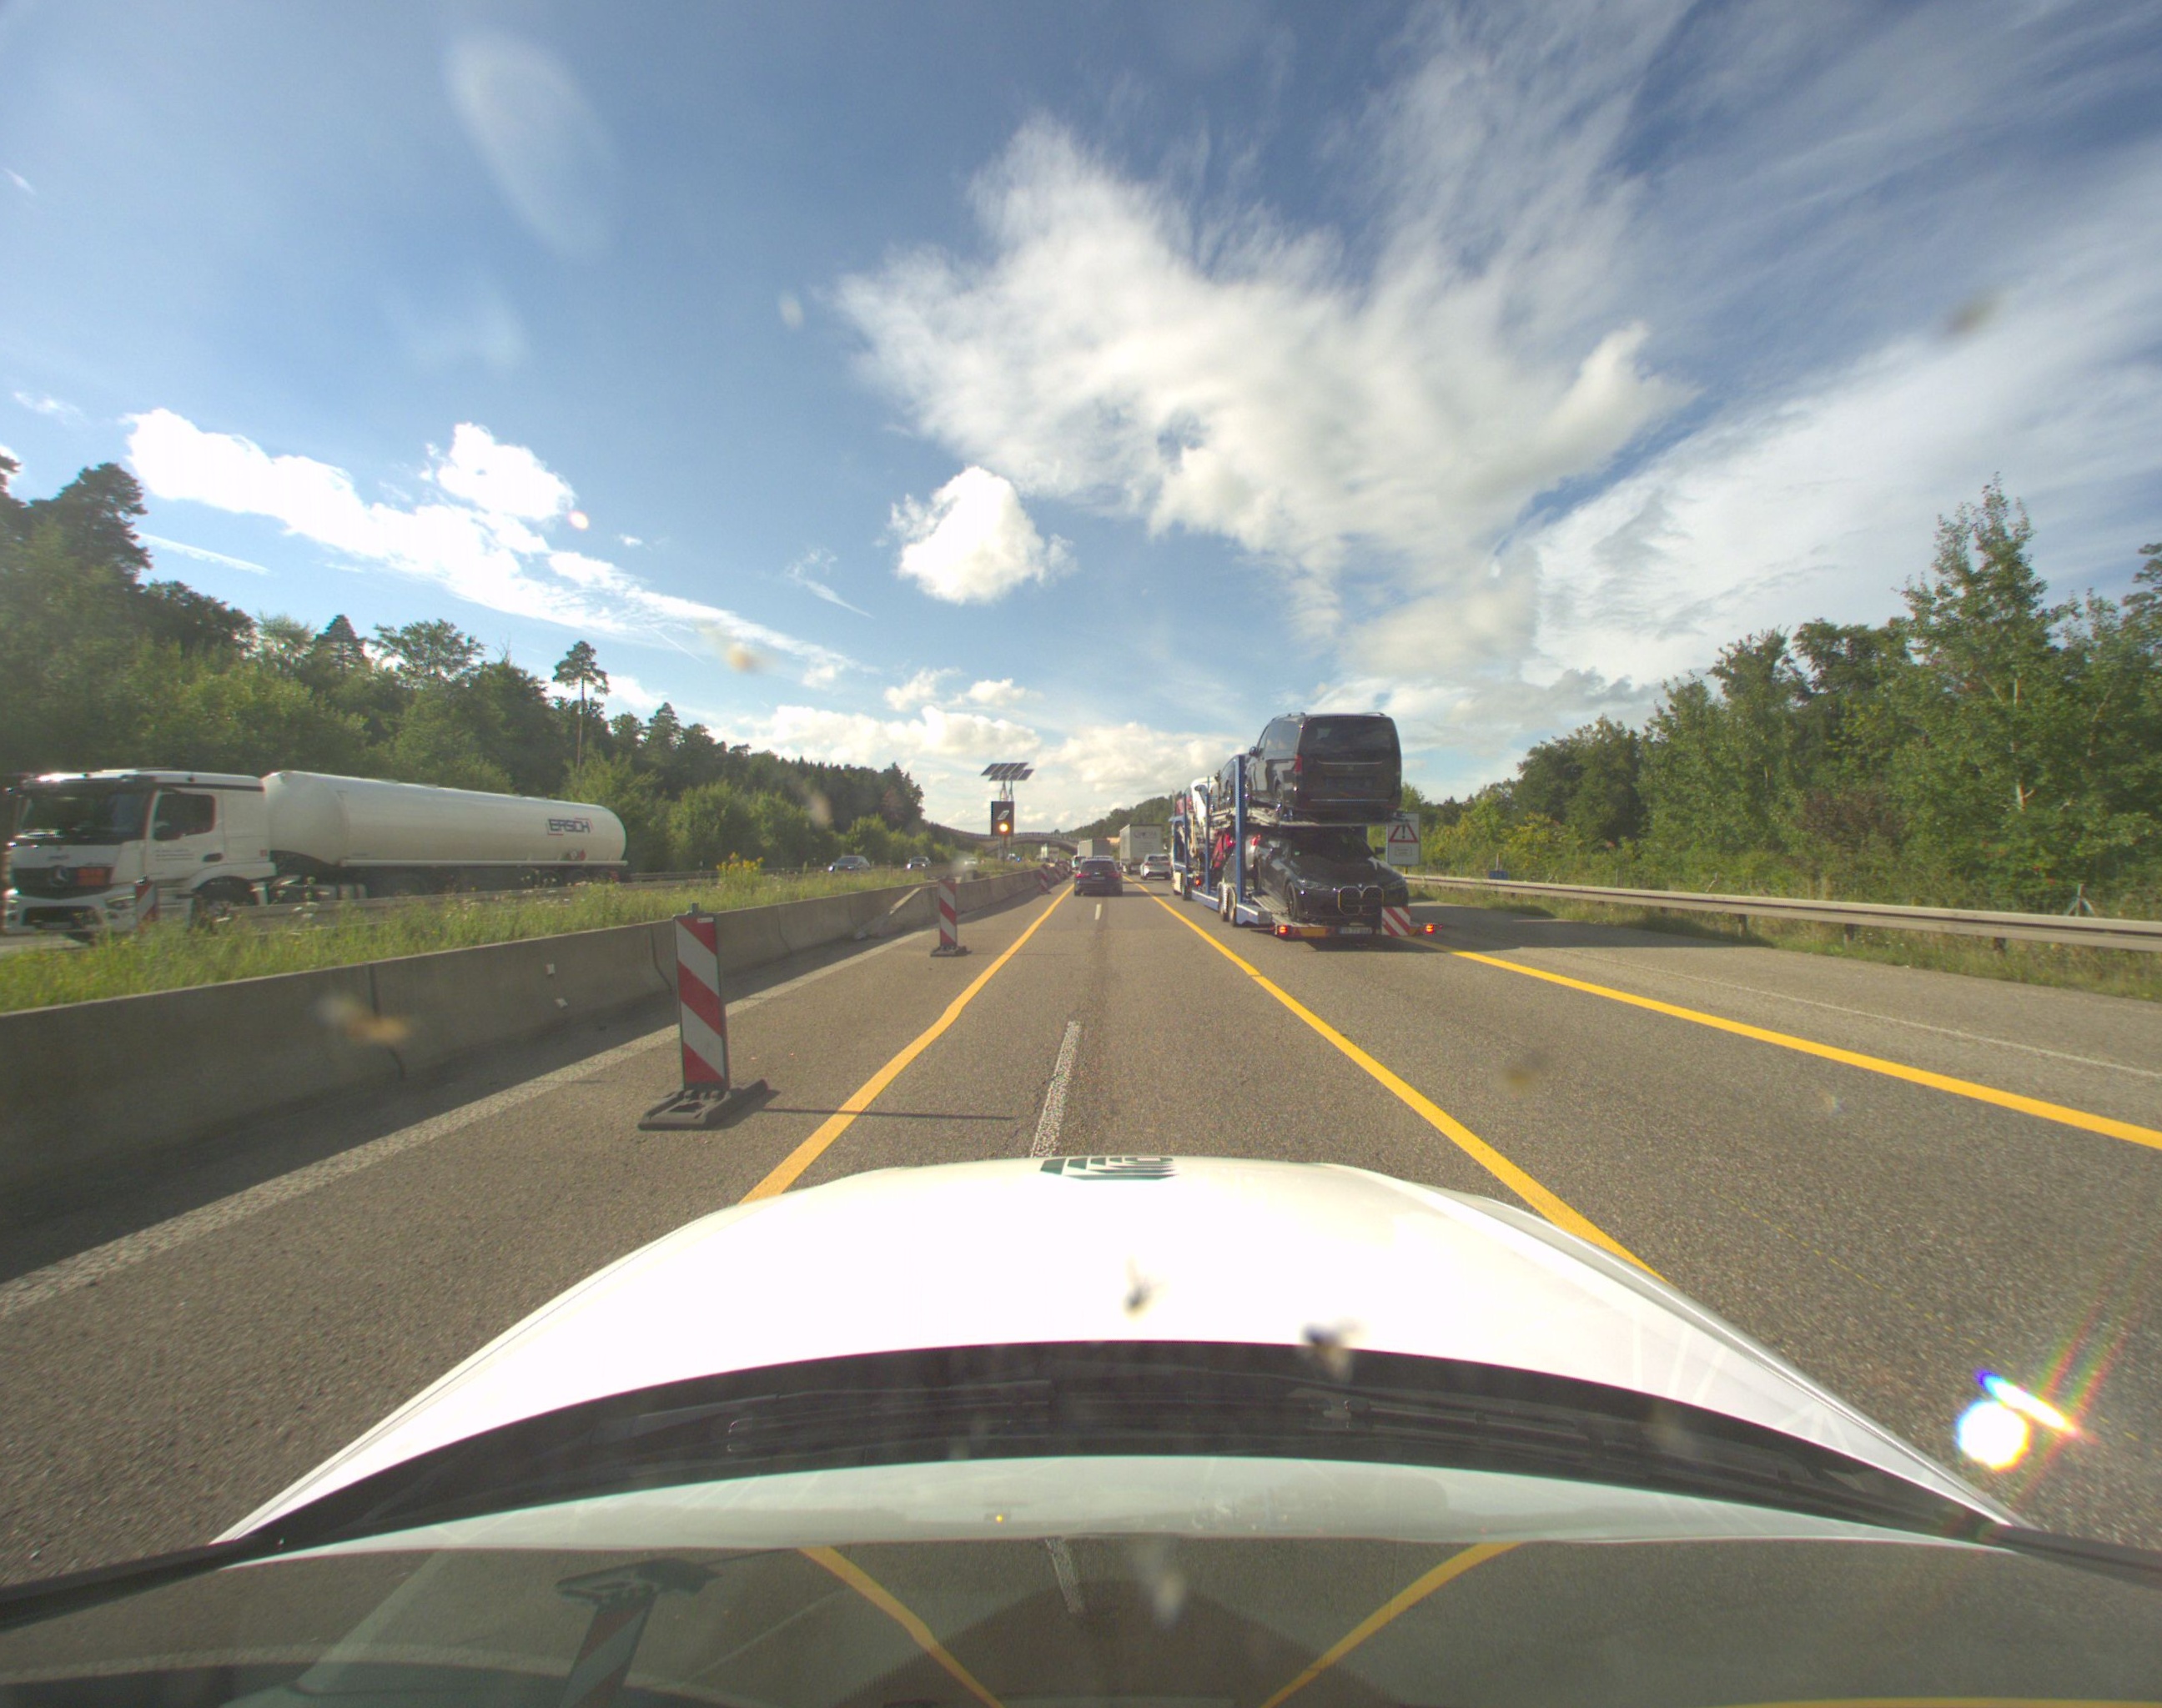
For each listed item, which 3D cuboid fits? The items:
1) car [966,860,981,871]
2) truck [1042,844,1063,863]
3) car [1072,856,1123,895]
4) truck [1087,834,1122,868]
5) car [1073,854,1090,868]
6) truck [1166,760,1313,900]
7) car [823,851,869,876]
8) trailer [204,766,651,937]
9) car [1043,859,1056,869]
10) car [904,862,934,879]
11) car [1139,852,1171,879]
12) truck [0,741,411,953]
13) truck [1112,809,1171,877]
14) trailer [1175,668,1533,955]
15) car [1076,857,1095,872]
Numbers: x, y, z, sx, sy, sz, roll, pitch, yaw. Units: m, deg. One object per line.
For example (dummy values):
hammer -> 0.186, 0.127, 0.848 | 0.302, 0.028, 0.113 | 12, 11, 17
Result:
car -> -16.987, 1.820, 128.827 | 1.770, 1.602, 4.021 | 0, 0, 3
truck -> -6.140, -0.037, 173.272 | 3.651, 3.928, 11.039 | 0, 0, -7
car -> 0.714, 0.801, 32.218 | 1.882, 1.446, 4.003 | 0, 0, 3
truck -> 3.341, -0.378, 118.132 | 4.309, 4.600, 11.114 | 0, 0, -2
car -> 0.032, 0.902, 103.948 | 1.886, 1.643, 4.013 | 0, 0, -3
truck -> 5.179, -0.698, 28.539 | 3.748, 4.196, 7.952 | 0, 0, 1
car -> -15.934, 0.625, 55.365 | 1.770, 1.602, 4.021 | 0, 0, 3
trailer -> -16.295, -0.015, 22.205 | 2.790, 3.489, 11.120 | 0, 0, 3
car -> -5.549, 1.769, 142.915 | 1.779, 1.602, 4.002 | 0, 0, -11
car -> -16.234, 1.623, 81.857 | 1.951, 1.588, 4.483 | 0, 0, 1
car -> 4.712, 0.730, 52.245 | 1.882, 1.643, 4.021 | 0, 0, 3
truck -> -16.596, -0.098, 15.905 | 2.773, 3.490, 4.943 | 0, 0, 3
truck -> 5.083, -0.830, 72.328 | 3.667, 5.353, 16.191 | 0, 0, -1
trailer -> 4.940, -0.579, 20.082 | 3.713, 4.196, 16.230 | 0, 0, 1
car -> 0.508, 1.163, 89.820 | 1.886, 1.643, 4.013 | 0, 0, -3
